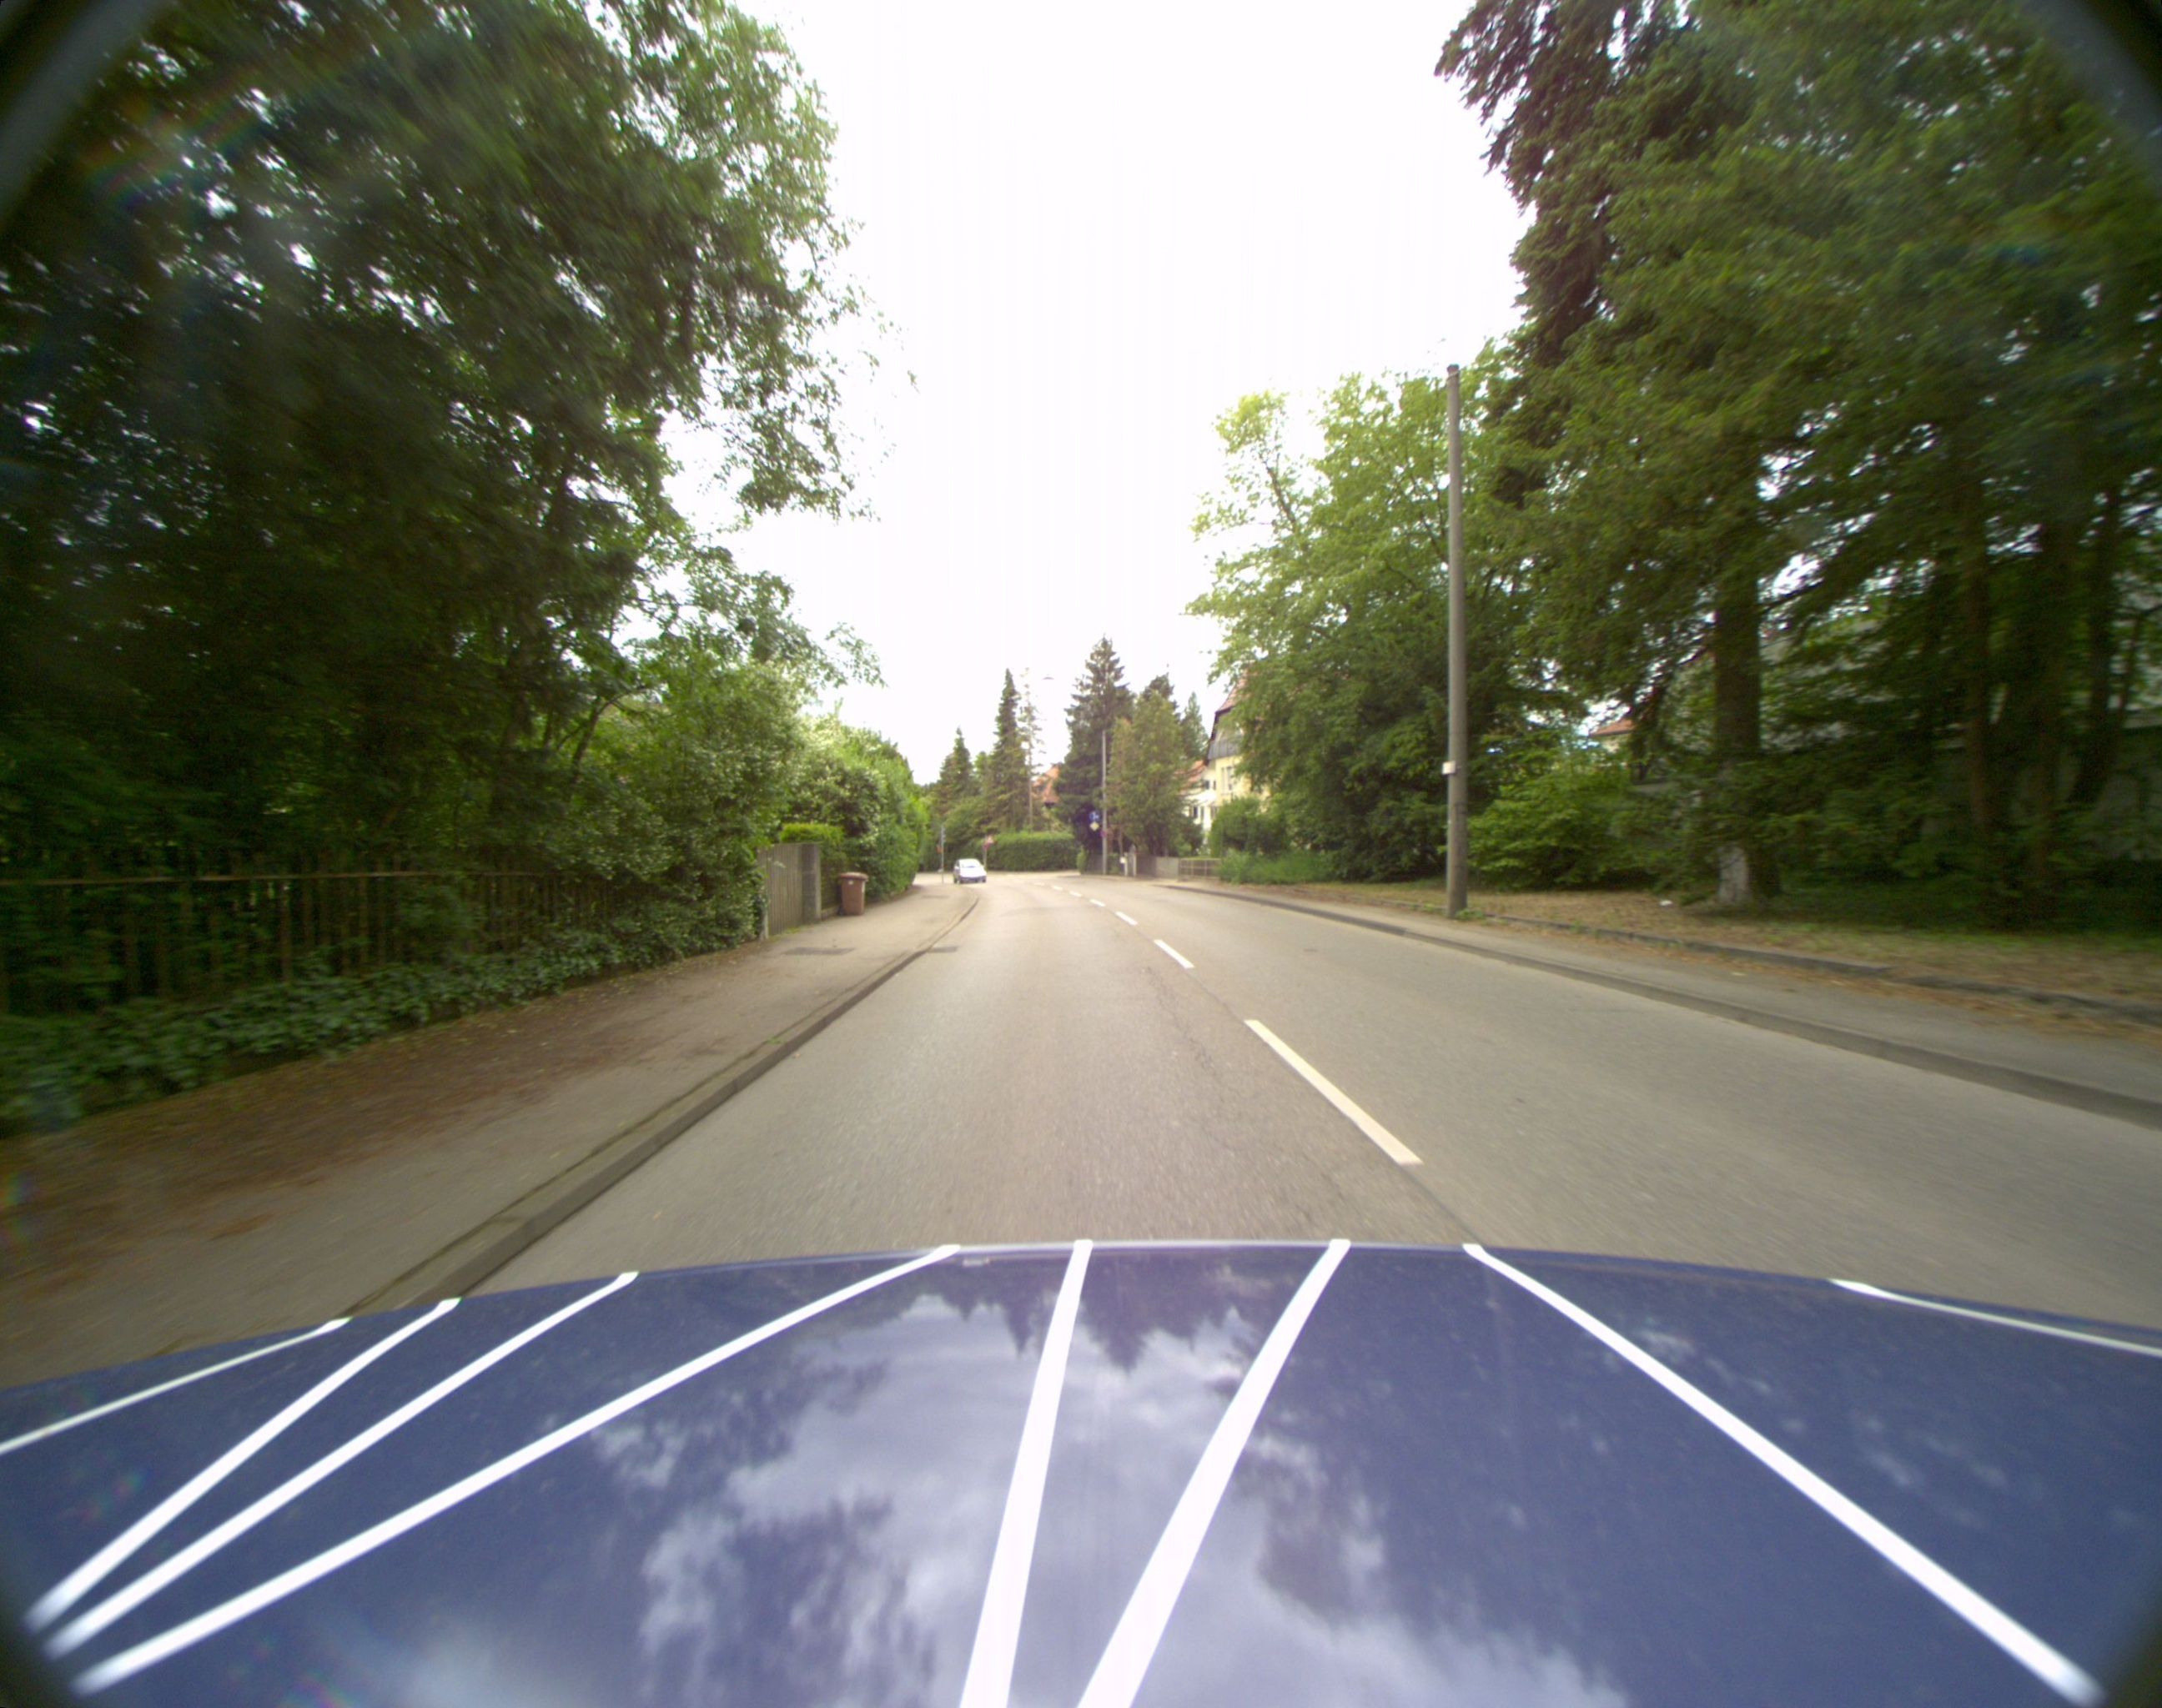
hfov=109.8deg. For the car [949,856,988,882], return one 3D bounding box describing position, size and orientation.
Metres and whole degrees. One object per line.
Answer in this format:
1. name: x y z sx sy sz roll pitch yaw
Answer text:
1. car: -7.543 0.963 50.850 2.001 1.586 3.994 -2 0 -16
